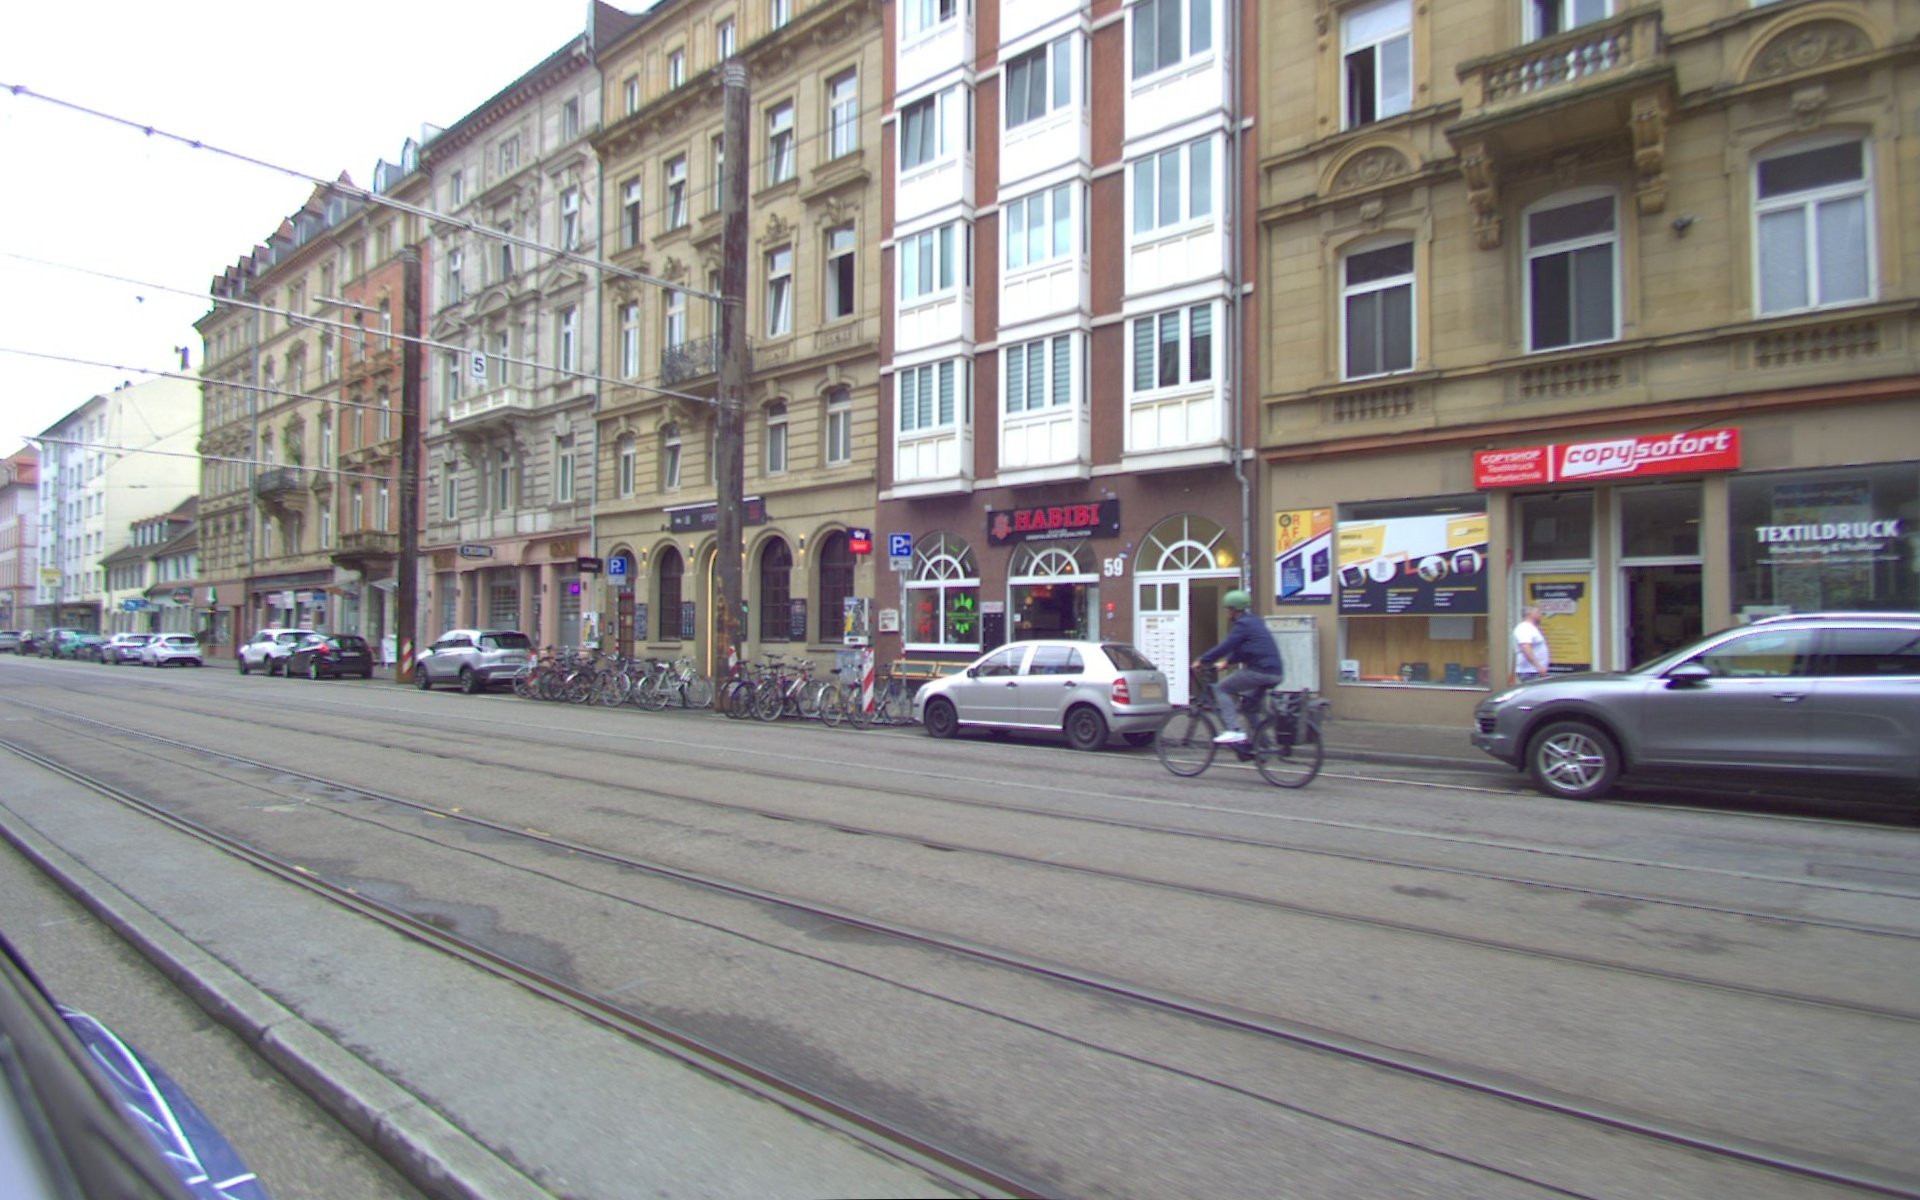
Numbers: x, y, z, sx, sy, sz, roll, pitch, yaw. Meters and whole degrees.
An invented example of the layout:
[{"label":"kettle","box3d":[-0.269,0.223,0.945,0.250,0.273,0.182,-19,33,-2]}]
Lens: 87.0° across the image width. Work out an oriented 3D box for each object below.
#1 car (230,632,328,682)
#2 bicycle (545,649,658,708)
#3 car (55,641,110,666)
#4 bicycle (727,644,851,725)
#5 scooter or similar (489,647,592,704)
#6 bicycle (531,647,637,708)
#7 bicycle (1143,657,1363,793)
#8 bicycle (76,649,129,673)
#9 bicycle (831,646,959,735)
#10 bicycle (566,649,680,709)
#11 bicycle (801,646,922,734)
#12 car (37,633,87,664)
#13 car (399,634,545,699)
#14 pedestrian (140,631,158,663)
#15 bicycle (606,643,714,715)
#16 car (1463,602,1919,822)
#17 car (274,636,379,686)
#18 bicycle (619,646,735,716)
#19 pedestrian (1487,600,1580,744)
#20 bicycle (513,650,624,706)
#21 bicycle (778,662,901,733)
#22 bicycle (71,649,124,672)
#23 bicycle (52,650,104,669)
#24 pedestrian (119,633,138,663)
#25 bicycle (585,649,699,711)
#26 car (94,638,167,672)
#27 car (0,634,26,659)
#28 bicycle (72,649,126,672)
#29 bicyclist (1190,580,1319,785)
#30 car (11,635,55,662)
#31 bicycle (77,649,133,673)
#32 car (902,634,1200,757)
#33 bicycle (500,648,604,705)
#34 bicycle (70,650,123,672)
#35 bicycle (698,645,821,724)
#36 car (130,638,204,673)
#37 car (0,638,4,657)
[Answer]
[{"label":"car","box3d":[-24.009,1.988,35.639,4.042,1.685,1.726,-2,-4,39]},{"label":"bicycle","box3d":[-7.819,1.718,22.187,0.704,1.212,2.259,-2,-5,40]},{"label":"car","box3d":[-49.856,3.032,57.485,3.430,1.391,1.632,-2,-4,37]},{"label":"bicycle","box3d":[-2.996,1.494,17.998,0.666,1.339,2.259,-2,-5,40]},{"label":"scooter or similar","box3d":[-9.846,1.742,23.842,0.547,1.212,2.259,-2,-2,40]},{"label":"bicycle","box3d":[-8.345,1.702,22.561,0.540,1.212,2.259,0,0,40]},{"label":"bicycle","box3d":[2.854,1.179,10.012,2.044,1.183,0.579,-1,-4,41]},{"label":"bicycle","box3d":[-43.618,3.089,51.492,0.556,1.106,2.018,-2,-2,40]},{"label":"bicycle","box3d":[-1.001,1.437,16.285,0.666,1.339,2.259,-2,-5,40]},{"label":"bicycle","box3d":[-7.196,1.690,21.726,0.666,1.212,2.259,-2,-5,40]},{"label":"bicycle","box3d":[-1.584,1.471,16.711,0.520,1.339,2.259,-2,-5,40]},{"label":"car","box3d":[-53.404,2.872,60.190,3.918,1.770,1.685,-2,-4,41]},{"label":"car","box3d":[-12.595,1.675,26.025,4.221,1.545,1.726,-2,-4,39]},{"label":"pedestrian","box3d":[-45.340,2.615,56.566,0.753,1.725,0.648,-1,-2,39]},{"label":"bicycle","box3d":[-6.149,1.594,20.849,0.448,1.304,2.259,-2,-1,40]},{"label":"car","box3d":[7.407,0.928,8.995,5.022,1.703,1.796,-2,-4,37]},{"label":"car","box3d":[-20.497,1.950,32.694,3.917,1.500,1.726,-2,-4,40]},{"label":"bicycle","box3d":[-5.682,1.628,20.474,0.666,1.339,2.259,-2,-5,40]},{"label":"pedestrian","box3d":[7.375,0.904,13.042,0.644,1.796,0.787,0,-1,-14]},{"label":"bicycle","box3d":[-8.851,1.766,22.973,0.704,1.212,2.259,-2,-5,40]},{"label":"bicycle","box3d":[-1.995,1.601,17.053,0.619,1.049,2.259,-2,-2,40]},{"label":"bicycle","box3d":[-44.589,3.115,52.307,0.556,1.106,2.018,-2,-2,40]},{"label":"bicycle","box3d":[-46.766,3.139,53.683,0.556,0.940,2.017,-2,-2,41]},{"label":"pedestrian","box3d":[-46.010,2.656,55.991,0.727,1.629,0.648,-1,-2,39]},{"label":"bicycle","box3d":[-6.647,1.677,21.270,0.666,1.212,2.259,-2,-5,40]},{"label":"car","box3d":[-39.042,2.601,47.598,4.541,1.533,1.805,-3,-4,40]},{"label":"car","box3d":[-69.784,3.395,73.861,3.823,1.745,1.904,-1,-2,39]},{"label":"bicycle","box3d":[-44.131,3.090,51.898,0.556,1.106,2.018,-2,-2,40]},{"label":"bicyclist","box3d":[2.898,0.777,9.981,1.028,1.897,0.638,-2,-2,41]},{"label":"car","box3d":[-61.200,3.201,66.816,4.178,1.684,1.683,-1,-2,41]},{"label":"bicycle","box3d":[-43.124,3.057,51.068,0.556,1.106,2.112,-2,-2,40]},{"label":"car","box3d":[1.204,1.263,14.319,3.916,1.500,1.726,-2,-4,39]},{"label":"bicycle","box3d":[-9.393,1.747,23.393,0.547,1.212,2.259,-2,-2,40]},{"label":"bicycle","box3d":[-44.981,3.165,52.741,0.556,1.106,2.018,-2,-2,40]},{"label":"bicycle","box3d":[-3.624,1.538,18.536,0.666,1.339,2.259,-2,-5,40]},{"label":"car","box3d":[-35.165,2.460,44.854,4.042,1.476,1.726,-2,-4,39]},{"label":"car","box3d":[-75.183,3.683,77.971,3.823,1.462,1.711,-1,-2,39]}]
